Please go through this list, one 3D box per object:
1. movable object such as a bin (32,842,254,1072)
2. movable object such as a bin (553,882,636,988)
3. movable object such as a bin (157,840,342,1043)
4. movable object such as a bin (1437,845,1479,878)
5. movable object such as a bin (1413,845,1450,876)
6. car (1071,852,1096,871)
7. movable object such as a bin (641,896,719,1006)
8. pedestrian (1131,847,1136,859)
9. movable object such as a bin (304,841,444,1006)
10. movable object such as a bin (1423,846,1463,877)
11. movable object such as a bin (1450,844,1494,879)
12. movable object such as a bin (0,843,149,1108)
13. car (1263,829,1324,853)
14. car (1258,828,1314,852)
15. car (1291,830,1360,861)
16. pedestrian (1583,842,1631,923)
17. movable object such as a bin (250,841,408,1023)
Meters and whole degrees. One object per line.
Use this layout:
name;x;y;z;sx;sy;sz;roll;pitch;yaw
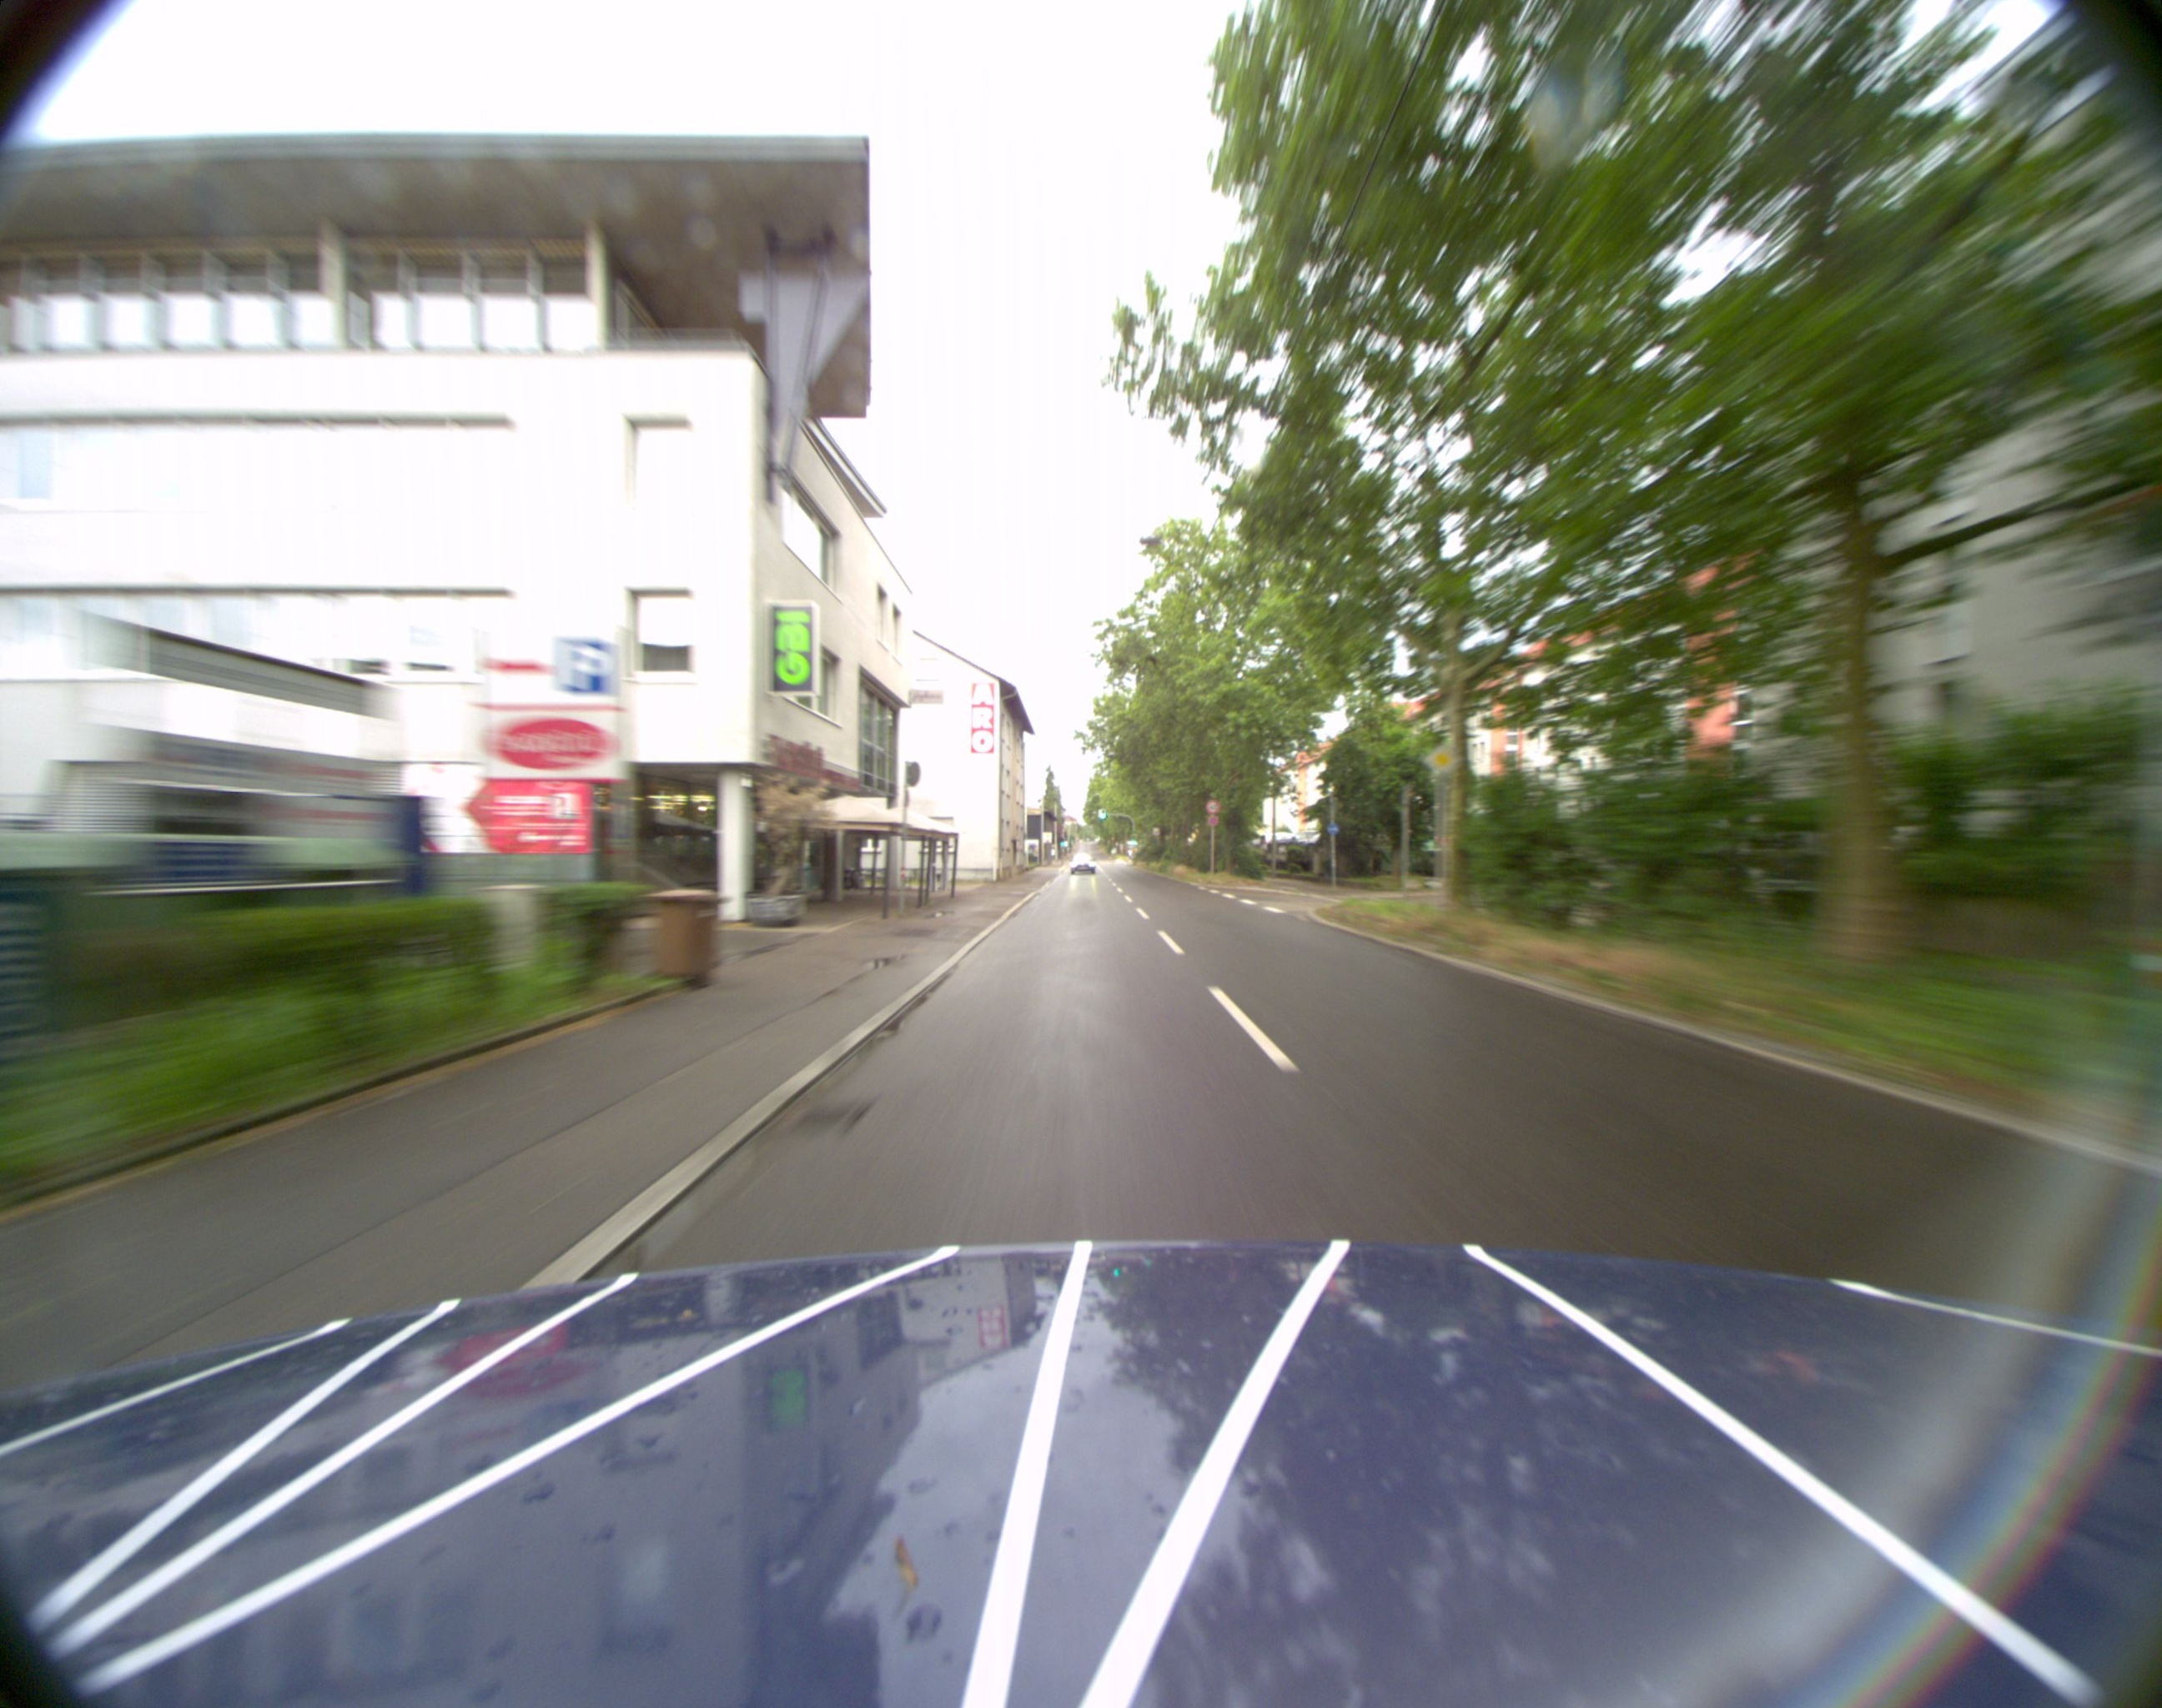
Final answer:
movable object such as a bin;-6.437;0.672;5.256;0.739;1.499;0.625;1;1;-3
movable object such as a bin;-5.388;0.881;8.439;0.532;1.109;0.561;0;1;3
movable object such as a bin;-6.433;0.649;5.919;0.739;1.499;0.625;1;1;-3
movable object such as a bin;17.355;0.332;35.040;1.164;1.379;1.301;-6;1;-1
movable object such as a bin;17.400;0.322;37.729;1.164;1.379;1.225;-6;1;-1
car;0.173;0.534;56.539;1.692;1.334;3.999;0;0;-2
movable object such as a bin;-4.333;1.032;8.236;0.506;1.109;0.618;0;1;1
pedestrian;7.056;-0.121;102.139;0.648;1.674;0.631;0;1;0
movable object such as a bin;-6.673;0.634;7.205;0.739;1.499;0.625;1;1;-3
movable object such as a bin;17.350;0.345;36.434;1.164;1.379;1.301;-6;1;-1
movable object such as a bin;17.316;0.326;33.664;1.164;1.379;1.301;-6;1;-1
movable object such as a bin;-6.408;0.685;4.597;0.739;1.499;0.625;1;1;-3
car;15.803;-0.937;56.656;3.997;1.784;1.959;0;1;0
car;15.978;-1.116;59.273;3.802;1.679;1.738;-2;1;-2
car;16.000;-0.572;49.880;3.995;2.002;1.957;0;1;6
pedestrian;10.785;0.577;15.592;0.541;1.621;0.591;0;1;-2
movable object such as a bin;-6.468;0.641;6.573;0.739;1.499;0.625;1;1;-3
